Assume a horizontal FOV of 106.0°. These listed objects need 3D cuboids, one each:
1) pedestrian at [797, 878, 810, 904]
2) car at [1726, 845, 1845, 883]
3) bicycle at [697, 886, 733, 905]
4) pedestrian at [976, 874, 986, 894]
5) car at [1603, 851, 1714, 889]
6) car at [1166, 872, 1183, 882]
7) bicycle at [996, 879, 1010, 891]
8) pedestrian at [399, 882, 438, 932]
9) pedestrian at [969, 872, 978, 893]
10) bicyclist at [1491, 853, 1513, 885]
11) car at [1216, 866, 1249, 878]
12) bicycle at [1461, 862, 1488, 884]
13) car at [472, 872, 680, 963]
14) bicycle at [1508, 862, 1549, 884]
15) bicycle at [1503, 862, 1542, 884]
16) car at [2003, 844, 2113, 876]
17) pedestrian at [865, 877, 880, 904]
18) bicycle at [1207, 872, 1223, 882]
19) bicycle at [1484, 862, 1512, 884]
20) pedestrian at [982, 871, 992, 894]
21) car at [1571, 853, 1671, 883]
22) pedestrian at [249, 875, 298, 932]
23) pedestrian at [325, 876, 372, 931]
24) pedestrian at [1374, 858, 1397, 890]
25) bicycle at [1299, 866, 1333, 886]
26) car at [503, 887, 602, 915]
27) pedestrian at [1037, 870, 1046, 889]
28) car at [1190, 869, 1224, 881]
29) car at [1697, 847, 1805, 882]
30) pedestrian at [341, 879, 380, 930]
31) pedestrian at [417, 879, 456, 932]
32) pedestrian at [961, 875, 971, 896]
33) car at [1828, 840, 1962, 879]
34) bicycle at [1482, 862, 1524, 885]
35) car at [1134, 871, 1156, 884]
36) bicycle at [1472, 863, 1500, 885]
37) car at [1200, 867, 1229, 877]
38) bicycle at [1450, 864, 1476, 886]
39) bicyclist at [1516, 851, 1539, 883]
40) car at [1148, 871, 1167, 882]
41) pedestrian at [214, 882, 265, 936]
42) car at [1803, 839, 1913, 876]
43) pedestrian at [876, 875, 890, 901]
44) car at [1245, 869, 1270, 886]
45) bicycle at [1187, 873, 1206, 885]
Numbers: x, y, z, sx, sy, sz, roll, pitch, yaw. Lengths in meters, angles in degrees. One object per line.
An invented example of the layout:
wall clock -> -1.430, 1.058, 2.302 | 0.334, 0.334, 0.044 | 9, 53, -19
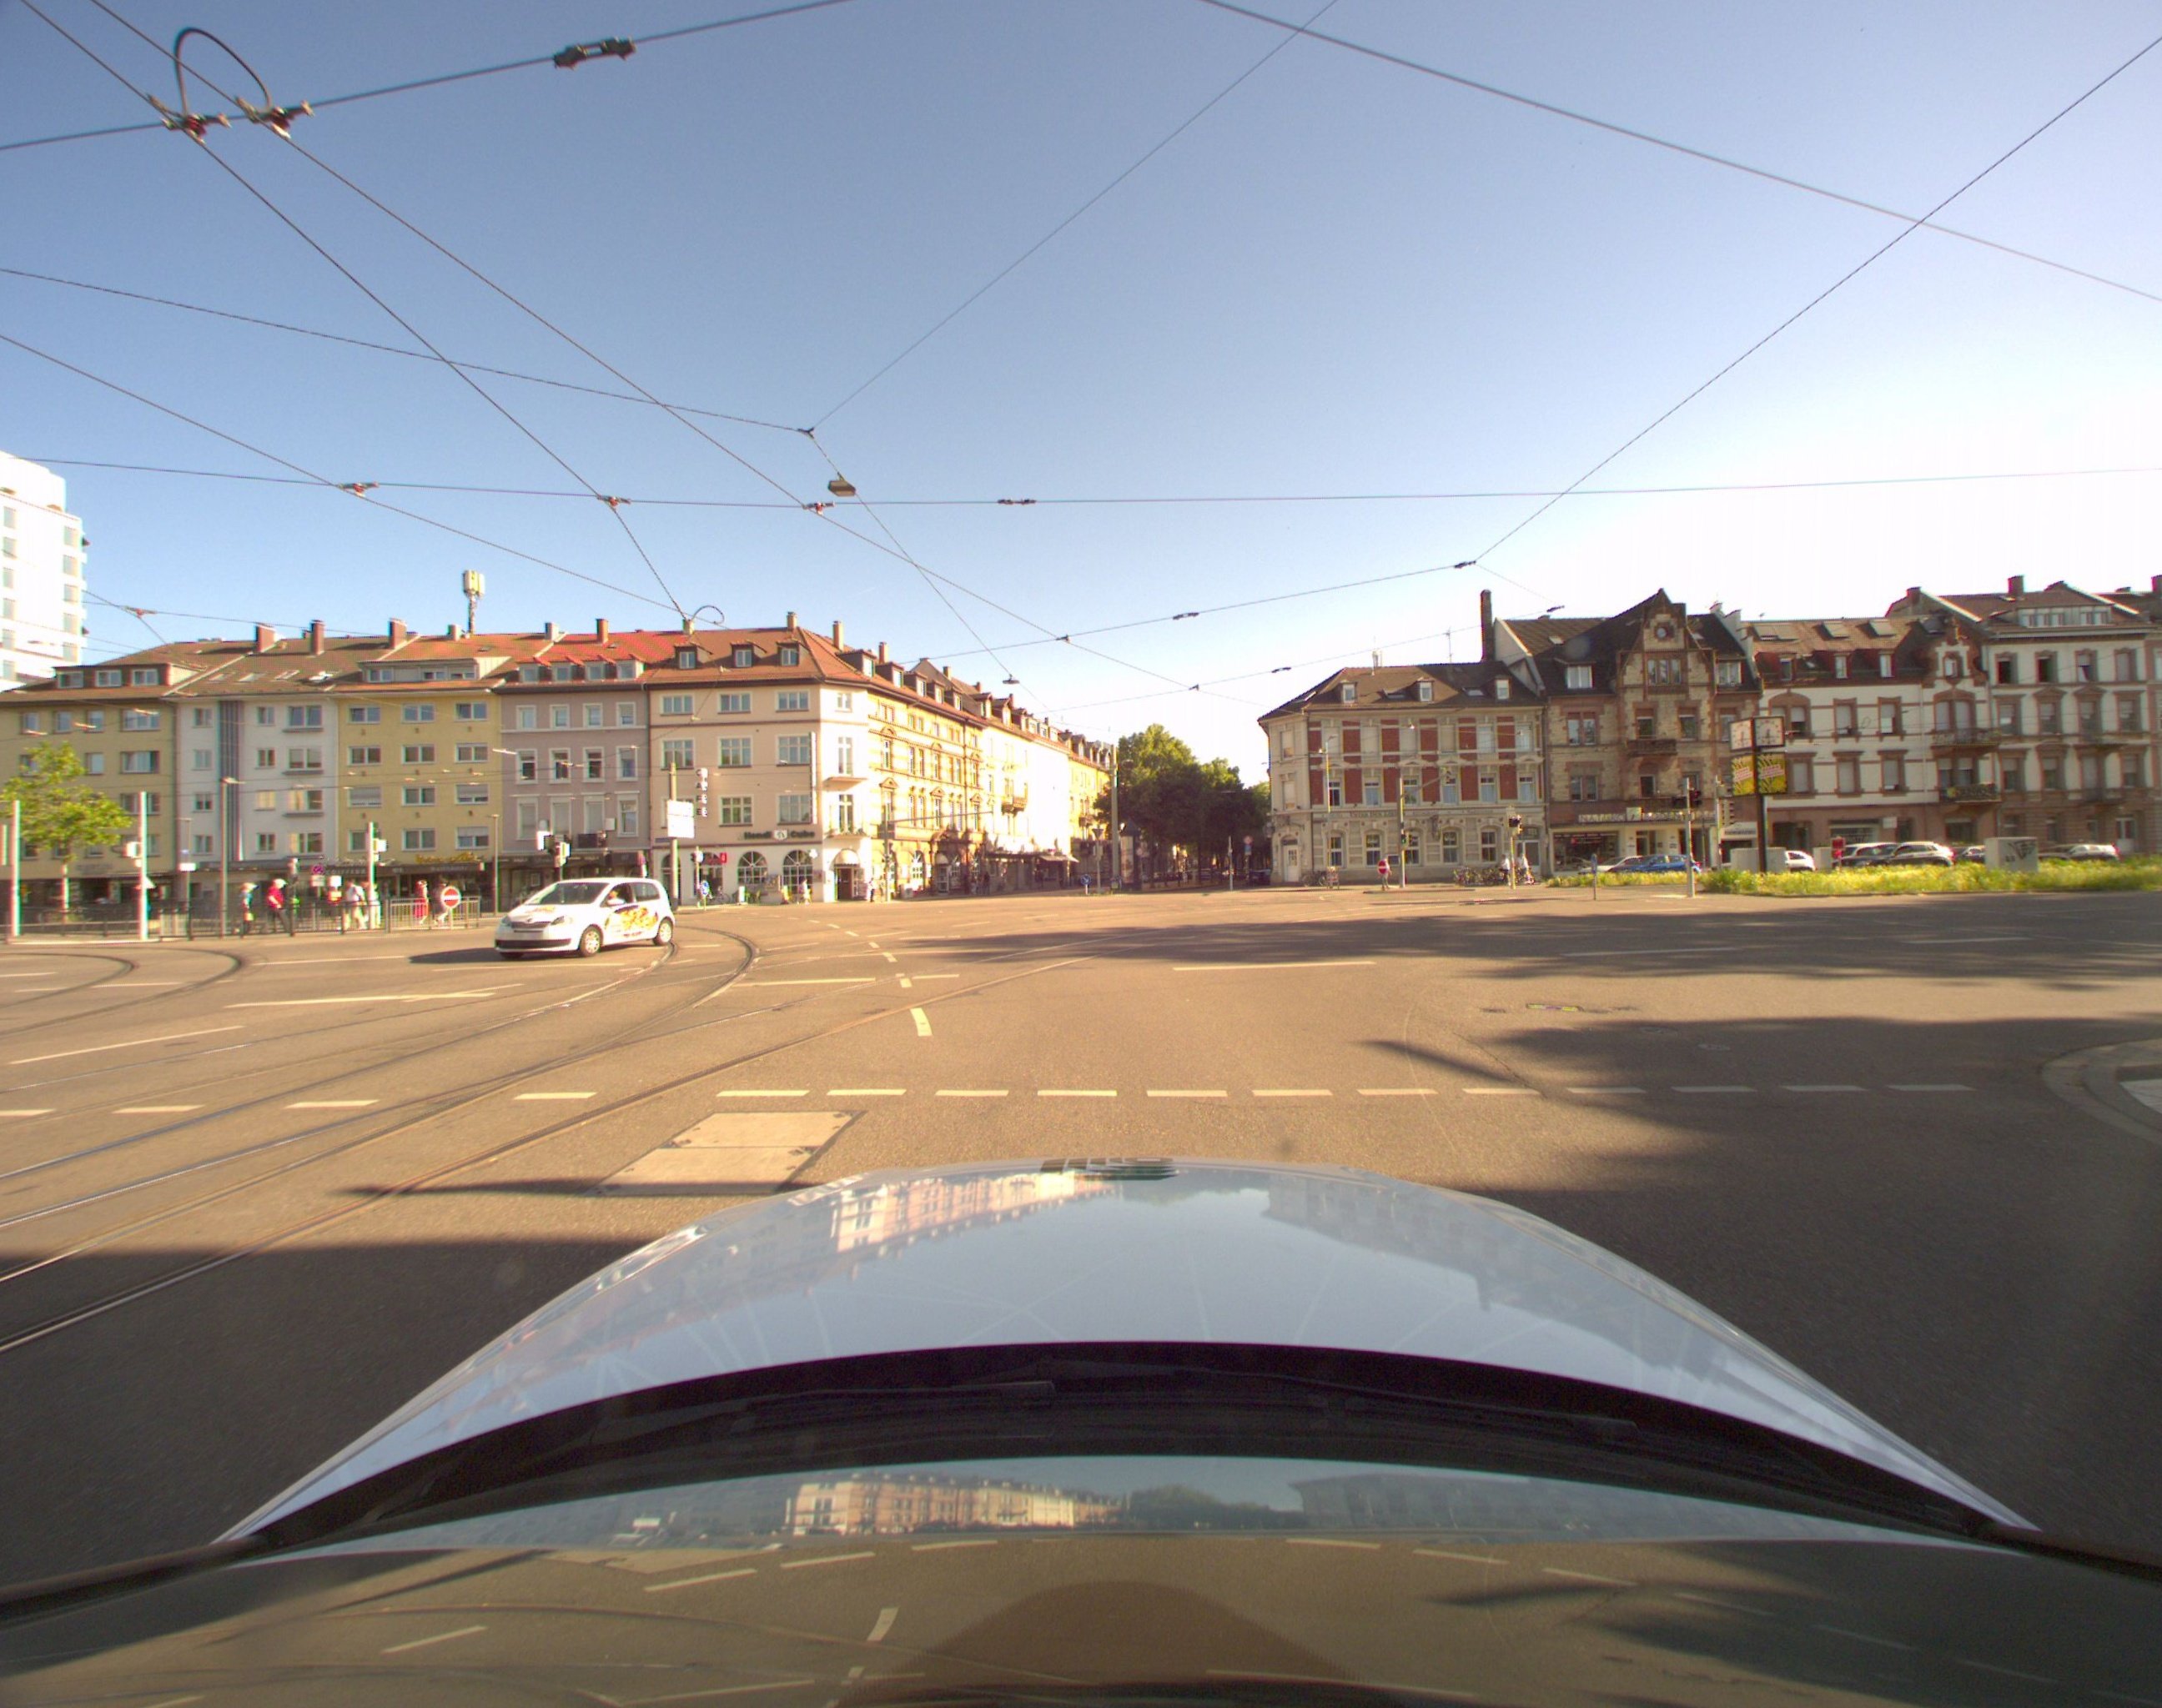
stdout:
pedestrian -> -16.931, 2.258, 49.699 | 0.658, 1.524, 0.692 | -2, -1, -14
car -> 33.974, 0.480, 39.356 | 3.973, 1.668, 1.955 | -2, -1, 1
bicycle -> -23.141, 2.619, 51.541 | 1.940, 1.067, 0.582 | -2, -1, -6
pedestrian -> -8.137, 2.452, 66.272 | 0.546, 1.642, 0.635 | -2, -1, 15
car -> 28.010, 0.757, 39.593 | 3.973, 1.668, 1.955 | -2, -1, 1
car -> 14.992, 3.675, 130.828 | 1.978, 1.497, 4.050 | -2, -1, 16
bicycle -> -7.111, 2.821, 74.297 | 0.491, 1.067, 1.778 | -2, -1, 18
pedestrian -> -23.939, 1.906, 29.434 | 0.830, 1.733, 0.911 | -3, -1, 36
pedestrian -> -8.757, 2.322, 66.209 | 0.546, 1.642, 0.540 | -2, -1, 15
bicyclist -> 23.279, 0.823, 45.056 | 0.869, 1.764, 0.602 | -2, -1, 4
car -> 20.563, 2.476, 110.757 | 3.948, 1.545, 2.013 | -3, -1, 32
bicycle -> 22.867, 1.093, 47.320 | 0.674, 1.191, 1.969 | -2, -1, 3
car -> -9.741, 1.153, 16.069 | 1.711, 1.497, 3.585 | -2, -1, 2
bicycle -> 25.232, 1.064, 45.901 | 1.956, 1.191, 0.601 | -2, -1, -3
bicycle -> 25.415, 1.092, 46.861 | 1.961, 1.191, 0.677 | -2, -1, -10
car -> 56.664, 0.353, 47.293 | 3.973, 1.668, 1.955 | -2, -1, 1
pedestrian -> -12.975, 2.267, 50.684 | 0.670, 1.642, 0.580 | -2, -1, 15
bicycle -> 15.412, 2.623, 93.537 | 0.586, 1.067, 1.928 | -1, -1, -35
bicycle -> 24.189, 1.085, 47.285 | 0.674, 1.191, 1.969 | -2, -1, 3
pedestrian -> -7.723, 2.356, 66.987 | 0.575, 1.836, 0.636 | -2, -1, 18
car -> 28.193, 0.720, 42.587 | 3.973, 1.412, 1.846 | -2, -1, 1
pedestrian -> -25.403, 1.544, 25.631 | 0.815, 1.724, 0.853 | -2, -2, 24
pedestrian -> -23.851, 1.612, 26.525 | 0.780, 1.733, 0.827 | -2, -1, 17
pedestrian -> 16.596, 1.094, 44.415 | 0.717, 1.669, 0.933 | -1, -1, -19
bicycle -> 14.848, 1.392, 51.475 | 1.951, 1.191, 0.547 | -2, -1, 6
car -> -31.026, 2.766, 47.888 | 4.626, 1.440, 1.743 | -2, -2, -2
pedestrian -> -3.928, 2.515, 80.912 | 0.676, 1.908, 0.636 | -2, -1, 17
car -> 17.022, 2.826, 109.925 | 3.949, 1.545, 2.012 | -3, -1, 30
car -> 34.918, 0.544, 42.520 | 3.973, 1.668, 1.955 | -2, -1, 1
pedestrian -> -25.297, 1.770, 28.613 | 0.779, 1.733, 0.829 | -3, -1, 32
pedestrian -> -21.964, 1.734, 27.755 | 0.650, 1.733, 0.801 | -2, -1, 0
pedestrian -> -9.335, 2.562, 66.278 | 0.622, 1.642, 0.540 | -2, -1, 15
car -> 39.203, 0.279, 39.308 | 4.456, 1.668, 1.955 | -2, -1, 1
bicycle -> 23.318, 1.096, 45.052 | 1.952, 1.191, 0.602 | -2, -1, 4
car -> 8.433, 3.061, 107.308 | 1.978, 1.497, 4.050 | -2, -1, 16
bicycle -> 23.518, 1.144, 47.306 | 0.674, 1.191, 1.969 | -2, -1, 3
car -> 21.105, 2.851, 128.754 | 3.949, 1.545, 2.012 | -3, -1, 30
bicycle -> 22.169, 1.213, 47.306 | 0.674, 1.191, 1.969 | -2, -1, 3
bicyclist -> 25.176, 0.711, 45.903 | 0.901, 1.764, 0.601 | -2, -1, -2
car -> 10.993, 3.243, 116.979 | 1.978, 1.497, 4.050 | -2, -1, 16
pedestrian -> -26.387, 1.711, 25.542 | 0.855, 1.631, 0.812 | -2, -2, 19
car -> 44.903, 0.222, 47.120 | 4.388, 1.965, 1.955 | -2, -1, 1
pedestrian -> -12.657, 2.188, 52.141 | 0.626, 1.642, 0.554 | -2, -1, 15
car -> 16.603, 2.167, 76.675 | 1.978, 1.497, 4.050 | -2, -1, 16
bicycle -> 10.920, 2.348, 77.133 | 0.586, 1.067, 1.928 | -1, -1, -35
